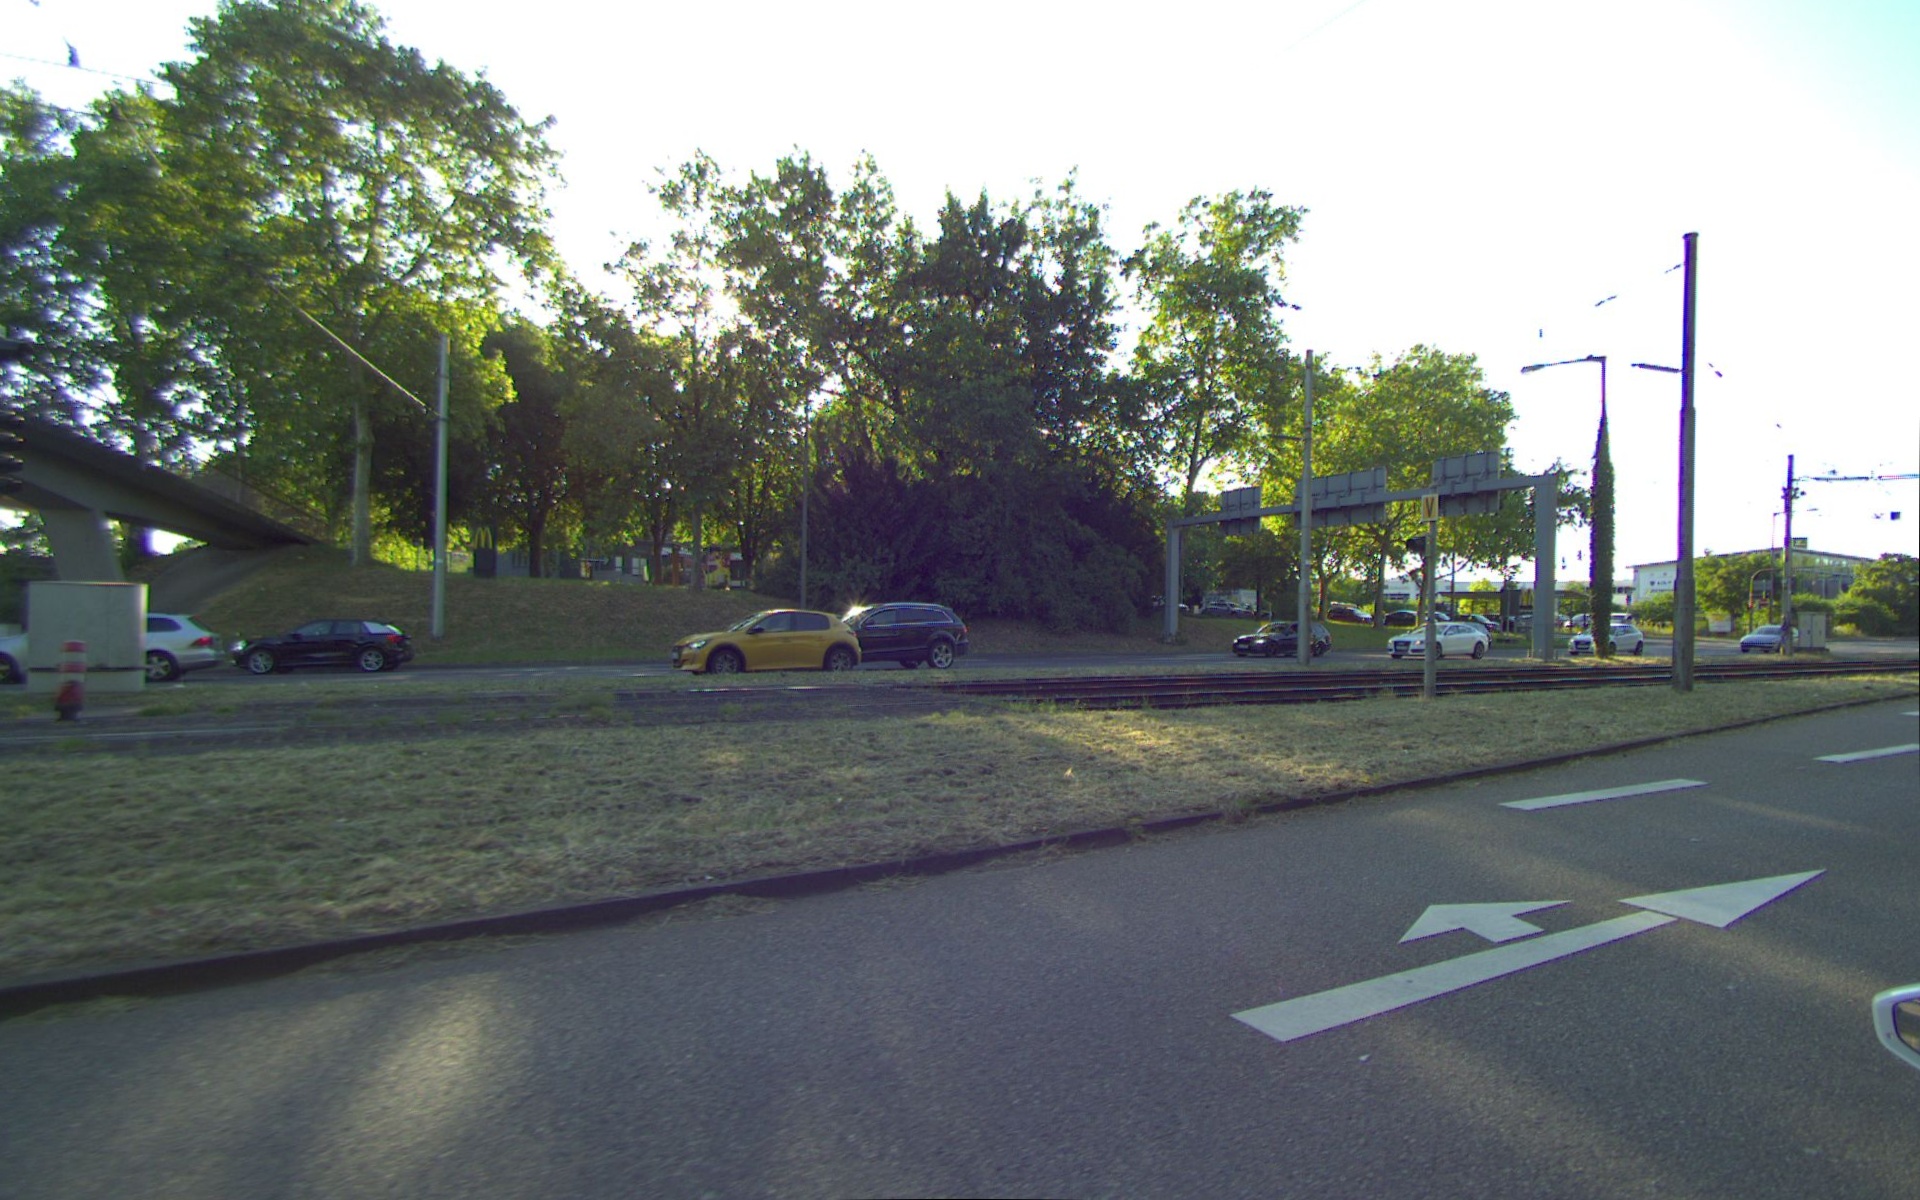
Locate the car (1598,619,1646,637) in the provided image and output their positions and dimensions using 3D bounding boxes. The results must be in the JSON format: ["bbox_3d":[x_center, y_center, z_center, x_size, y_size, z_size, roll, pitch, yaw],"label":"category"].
[{"bbox_3d":[58.271,2.463,88.412,3.950,1.461,1.834,1,0,-28],"label":"car"}]

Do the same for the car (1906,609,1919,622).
[{"bbox_3d":[102.345,1.686,106.264,1.440,1.410,3.123,1,0,-34],"label":"car"}]

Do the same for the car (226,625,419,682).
[{"bbox_3d":[-17.250,1.468,27.415,4.129,1.434,1.684,2,-1,-20],"label":"car"}]

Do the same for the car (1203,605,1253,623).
[{"bbox_3d":[22.640,1.146,84.984,1.655,1.390,3.965,1,0,-32],"label":"car"}]

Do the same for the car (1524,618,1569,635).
[{"bbox_3d":[54.869,2.475,94.032,3.950,1.461,1.834,1,0,-28],"label":"car"}]

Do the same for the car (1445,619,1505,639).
[{"bbox_3d":[40.701,2.261,79.451,1.759,1.405,4.044,1,0,-24],"label":"car"}]

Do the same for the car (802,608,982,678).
[{"bbox_3d":[-1.751,1.113,26.421,4.386,1.677,1.829,1,0,-31],"label":"car"}]

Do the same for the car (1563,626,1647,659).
[{"bbox_3d":[29.871,1.960,46.485,4.212,1.434,1.644,1,0,-33],"label":"car"}]

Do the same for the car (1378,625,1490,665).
[{"bbox_3d":[18.414,1.720,38.962,4.549,1.434,1.828,1,-1,-33],"label":"car"}]

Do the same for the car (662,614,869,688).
[{"bbox_3d":[-4.127,1.067,21.468,3.974,1.434,1.829,2,-1,-32],"label":"car"}]

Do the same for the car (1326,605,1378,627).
[{"bbox_3d":[34.879,1.428,89.474,1.975,1.884,3.972,1,-1,-27],"label":"car"}]

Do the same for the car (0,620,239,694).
[{"bbox_3d":[-18.266,1.191,21.532,4.388,1.434,1.677,2,-1,-32],"label":"car"}]

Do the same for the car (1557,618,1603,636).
[{"bbox_3d":[56.219,2.444,91.028,3.950,1.461,1.834,1,0,-28],"label":"car"}]

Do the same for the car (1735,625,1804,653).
[{"bbox_3d":[44.165,2.136,54.785,4.210,1.434,1.645,1,0,-31],"label":"car"}]

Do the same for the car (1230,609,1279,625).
[{"bbox_3d":[25.366,1.439,86.727,1.655,1.277,3.965,1,0,-32],"label":"car"}]

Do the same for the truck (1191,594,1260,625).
[{"bbox_3d":[30.402,1.033,115.555,2.701,3.433,8.252,1,0,-29],"label":"truck"}]

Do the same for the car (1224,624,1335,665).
[{"bbox_3d":[12.797,1.774,40.156,4.386,1.501,1.828,1,0,-32],"label":"car"}]
